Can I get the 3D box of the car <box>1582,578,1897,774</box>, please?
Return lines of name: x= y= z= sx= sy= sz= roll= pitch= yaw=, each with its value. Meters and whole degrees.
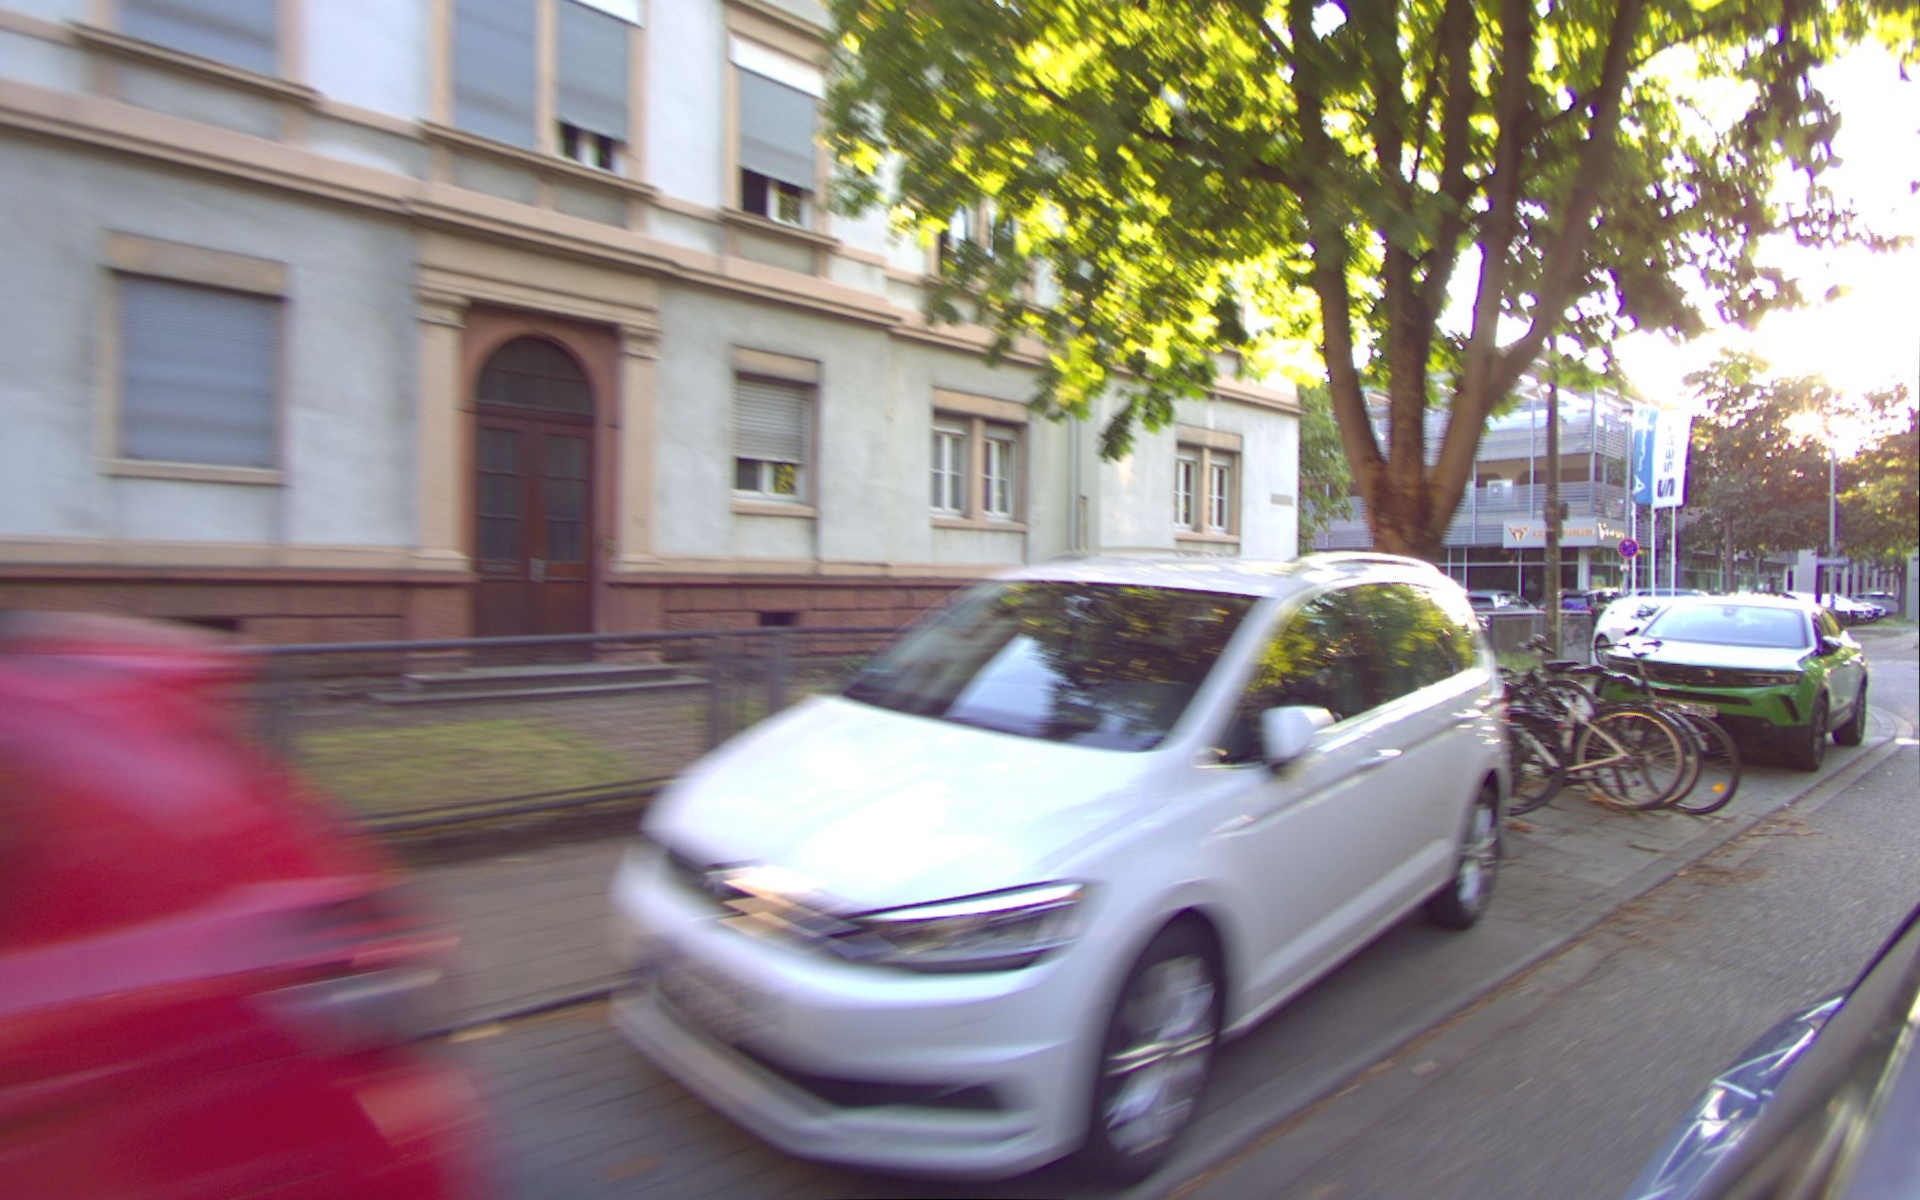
car: x=8.114 y=0.637 z=10.422 sx=3.892 sy=1.576 sz=1.735 roll=1 pitch=3 yaw=-40

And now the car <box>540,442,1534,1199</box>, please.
car: x=0.739 y=0.506 z=3.948 sx=1.664 sy=1.699 sz=4.056 roll=4 pitch=3 yaw=43

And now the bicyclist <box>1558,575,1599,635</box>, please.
bicyclist: x=16.924 y=0.130 z=27.698 sx=0.501 sy=1.597 sz=0.822 roll=2 pitch=0 yaw=-41

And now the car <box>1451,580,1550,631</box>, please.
car: x=19.197 y=0.146 z=35.895 sx=3.626 sy=1.611 sz=1.706 roll=-3 pitch=2 yaw=-37

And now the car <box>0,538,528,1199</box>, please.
car: x=-2.532 y=0.663 z=0.862 sx=3.629 sy=1.518 sz=1.668 roll=0 pitch=3 yaw=-41

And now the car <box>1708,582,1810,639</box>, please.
car: x=23.984 y=0.282 z=30.332 sx=3.835 sy=1.592 sz=1.765 roll=0 pitch=1 yaw=-42

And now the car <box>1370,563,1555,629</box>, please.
car: x=12.753 y=-0.145 z=25.888 sx=1.603 sy=1.564 sz=3.941 roll=-1 pitch=2 yaw=-37

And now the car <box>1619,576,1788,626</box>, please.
car: x=26.435 y=0.029 z=36.100 sx=1.840 sy=1.664 sz=4.584 roll=1 pitch=0 yaw=-41

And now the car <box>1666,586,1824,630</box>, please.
car: x=30.187 y=0.284 z=39.028 sx=1.840 sy=1.592 sz=4.584 roll=1 pitch=0 yaw=-41

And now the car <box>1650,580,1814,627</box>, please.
car: x=28.539 y=0.097 z=37.521 sx=1.840 sy=1.637 sz=4.584 roll=1 pitch=0 yaw=-41

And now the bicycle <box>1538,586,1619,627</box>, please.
bicycle: x=16.944 y=0.153 z=27.771 sx=0.528 sy=1.046 sz=1.909 roll=-1 pitch=2 yaw=-27

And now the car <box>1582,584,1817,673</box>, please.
car: x=14.316 y=0.490 z=19.936 sx=1.780 sy=1.520 sz=4.167 roll=1 pitch=0 yaw=5

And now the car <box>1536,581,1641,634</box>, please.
car: x=20.842 y=0.209 z=33.518 sx=4.053 sy=1.626 sz=1.716 roll=-2 pitch=1 yaw=-39
